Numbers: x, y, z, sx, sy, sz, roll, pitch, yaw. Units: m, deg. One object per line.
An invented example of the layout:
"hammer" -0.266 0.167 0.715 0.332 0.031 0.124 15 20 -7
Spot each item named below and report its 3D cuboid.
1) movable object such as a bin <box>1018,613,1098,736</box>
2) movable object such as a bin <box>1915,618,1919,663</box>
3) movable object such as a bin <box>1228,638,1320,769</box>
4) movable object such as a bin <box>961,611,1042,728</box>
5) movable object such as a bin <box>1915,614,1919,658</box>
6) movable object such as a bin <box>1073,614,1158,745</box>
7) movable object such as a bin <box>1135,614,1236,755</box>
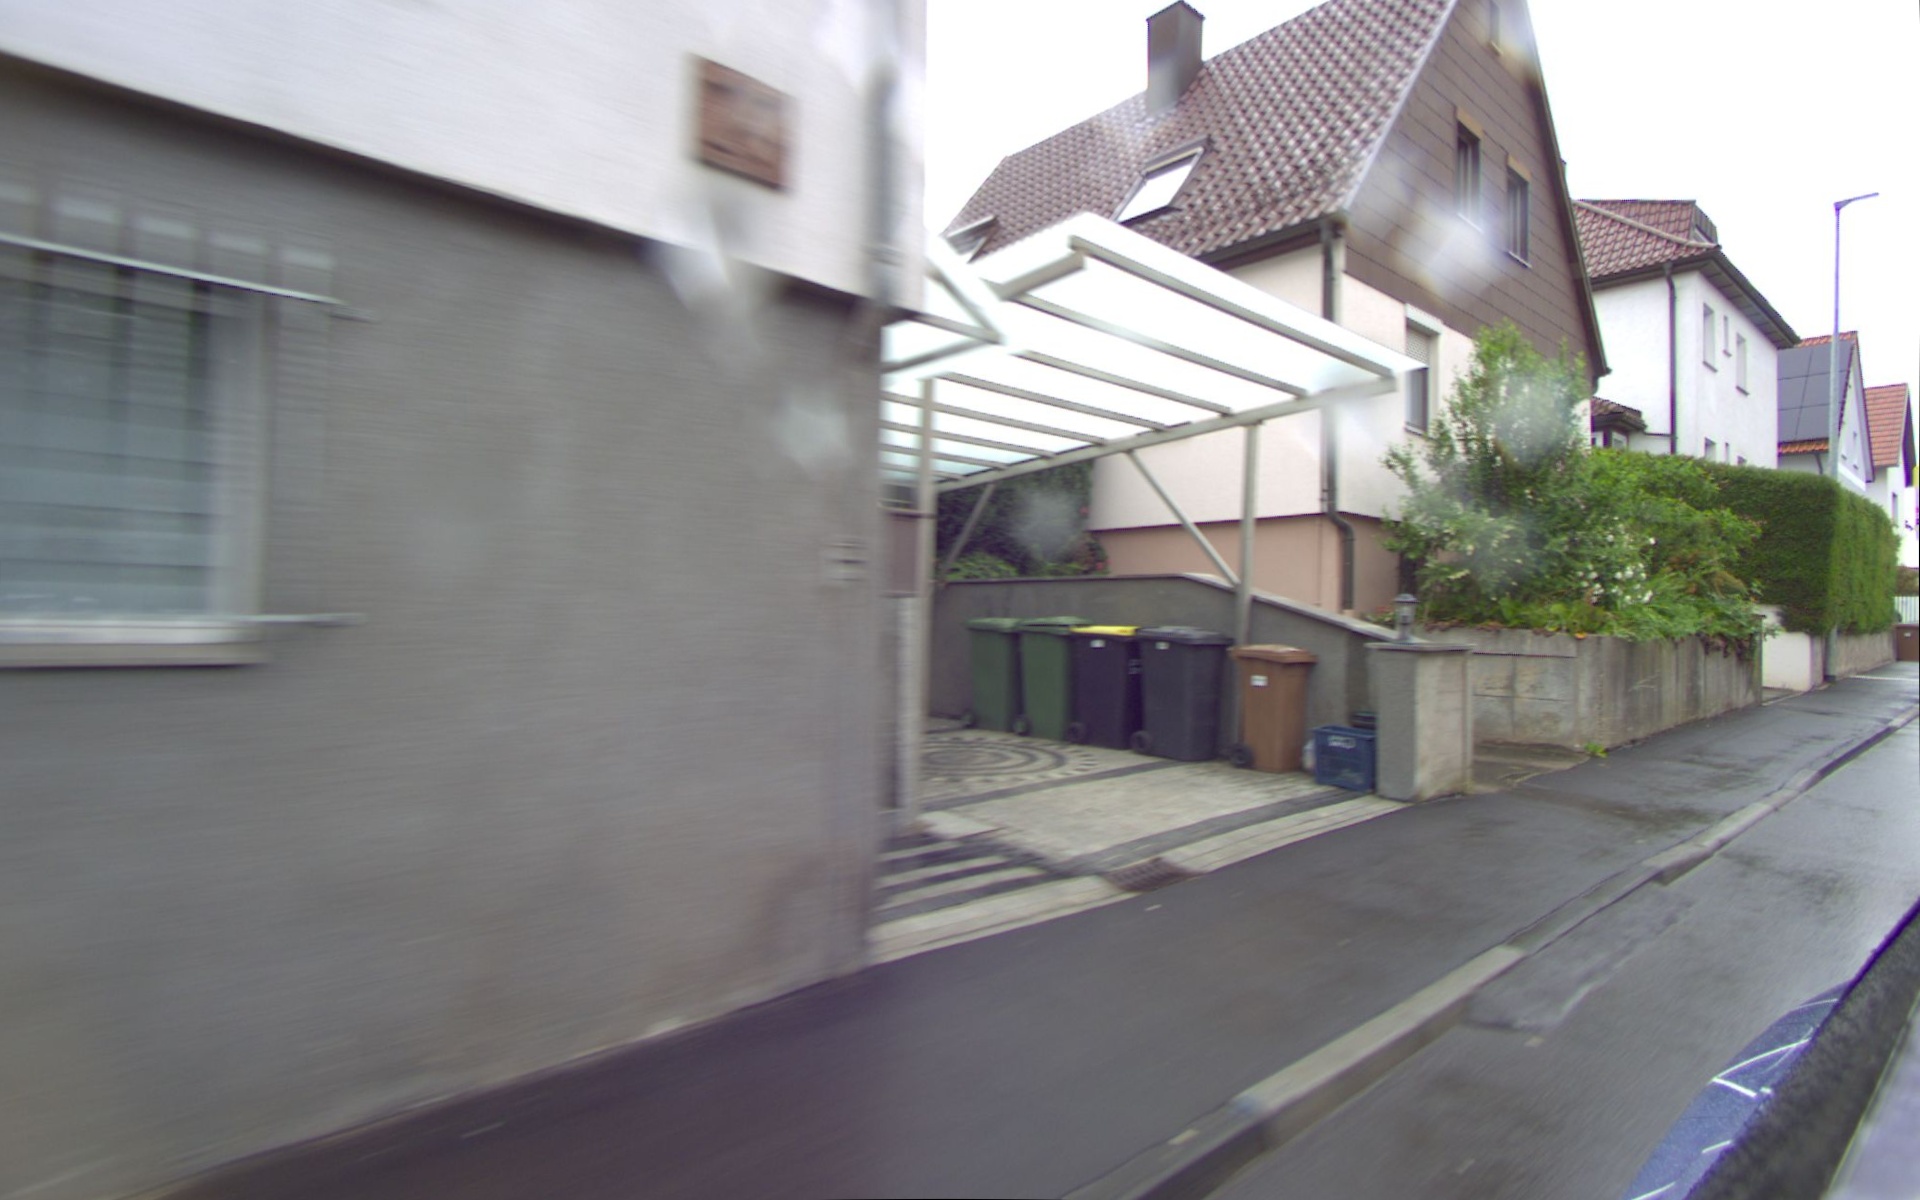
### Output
"movable object such as a bin" 0.897 0.657 9.260 0.486 1.074 0.543 1 -1 -40
"movable object such as a bin" 23.732 0.999 24.727 0.514 1.090 0.568 1 -1 -43
"movable object such as a bin" 2.376 0.761 7.656 0.468 0.916 0.494 1 -1 -41
"movable object such as a bin" 0.396 0.653 9.800 0.486 1.074 0.632 1 -1 -40
"movable object such as a bin" 24.371 0.904 25.383 0.529 1.090 0.568 1 -1 -43
"movable object such as a bin" 1.340 0.662 8.721 0.486 1.074 0.543 1 -1 -40
"movable object such as a bin" 1.831 0.659 8.236 0.517 1.074 0.619 1 -1 -40
